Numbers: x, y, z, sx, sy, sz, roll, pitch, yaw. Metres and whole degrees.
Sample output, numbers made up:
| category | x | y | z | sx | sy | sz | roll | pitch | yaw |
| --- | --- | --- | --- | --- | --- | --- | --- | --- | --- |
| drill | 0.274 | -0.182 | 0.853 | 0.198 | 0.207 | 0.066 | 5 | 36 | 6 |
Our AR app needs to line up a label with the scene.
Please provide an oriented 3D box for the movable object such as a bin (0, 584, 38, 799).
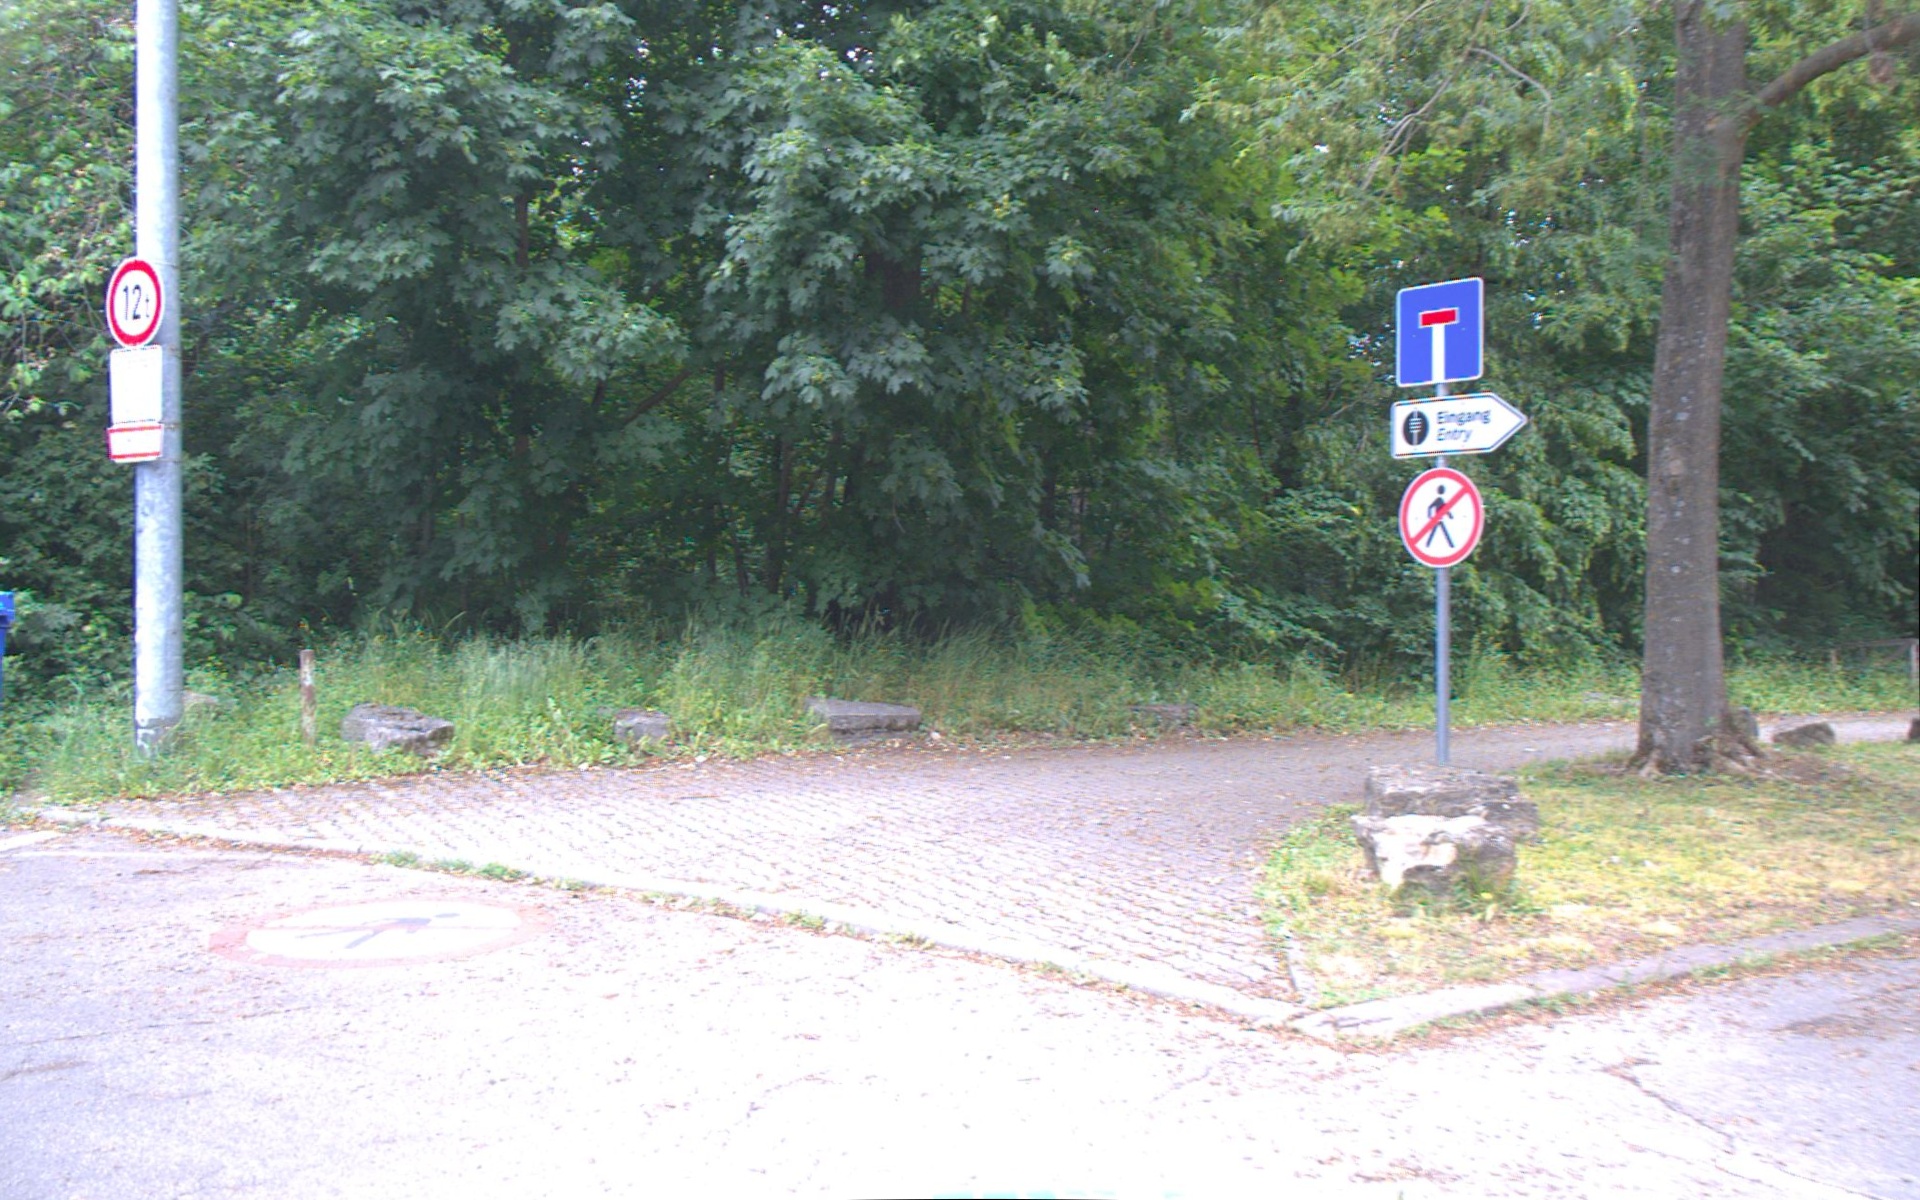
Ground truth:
| category | x | y | z | sx | sy | sz | roll | pitch | yaw |
| --- | --- | --- | --- | --- | --- | --- | --- | --- | --- |
| movable object such as a bin | -6.701 | 0.568 | 10.605 | 1.137 | 1.348 | 1.238 | 0 | 0 | -42 |
